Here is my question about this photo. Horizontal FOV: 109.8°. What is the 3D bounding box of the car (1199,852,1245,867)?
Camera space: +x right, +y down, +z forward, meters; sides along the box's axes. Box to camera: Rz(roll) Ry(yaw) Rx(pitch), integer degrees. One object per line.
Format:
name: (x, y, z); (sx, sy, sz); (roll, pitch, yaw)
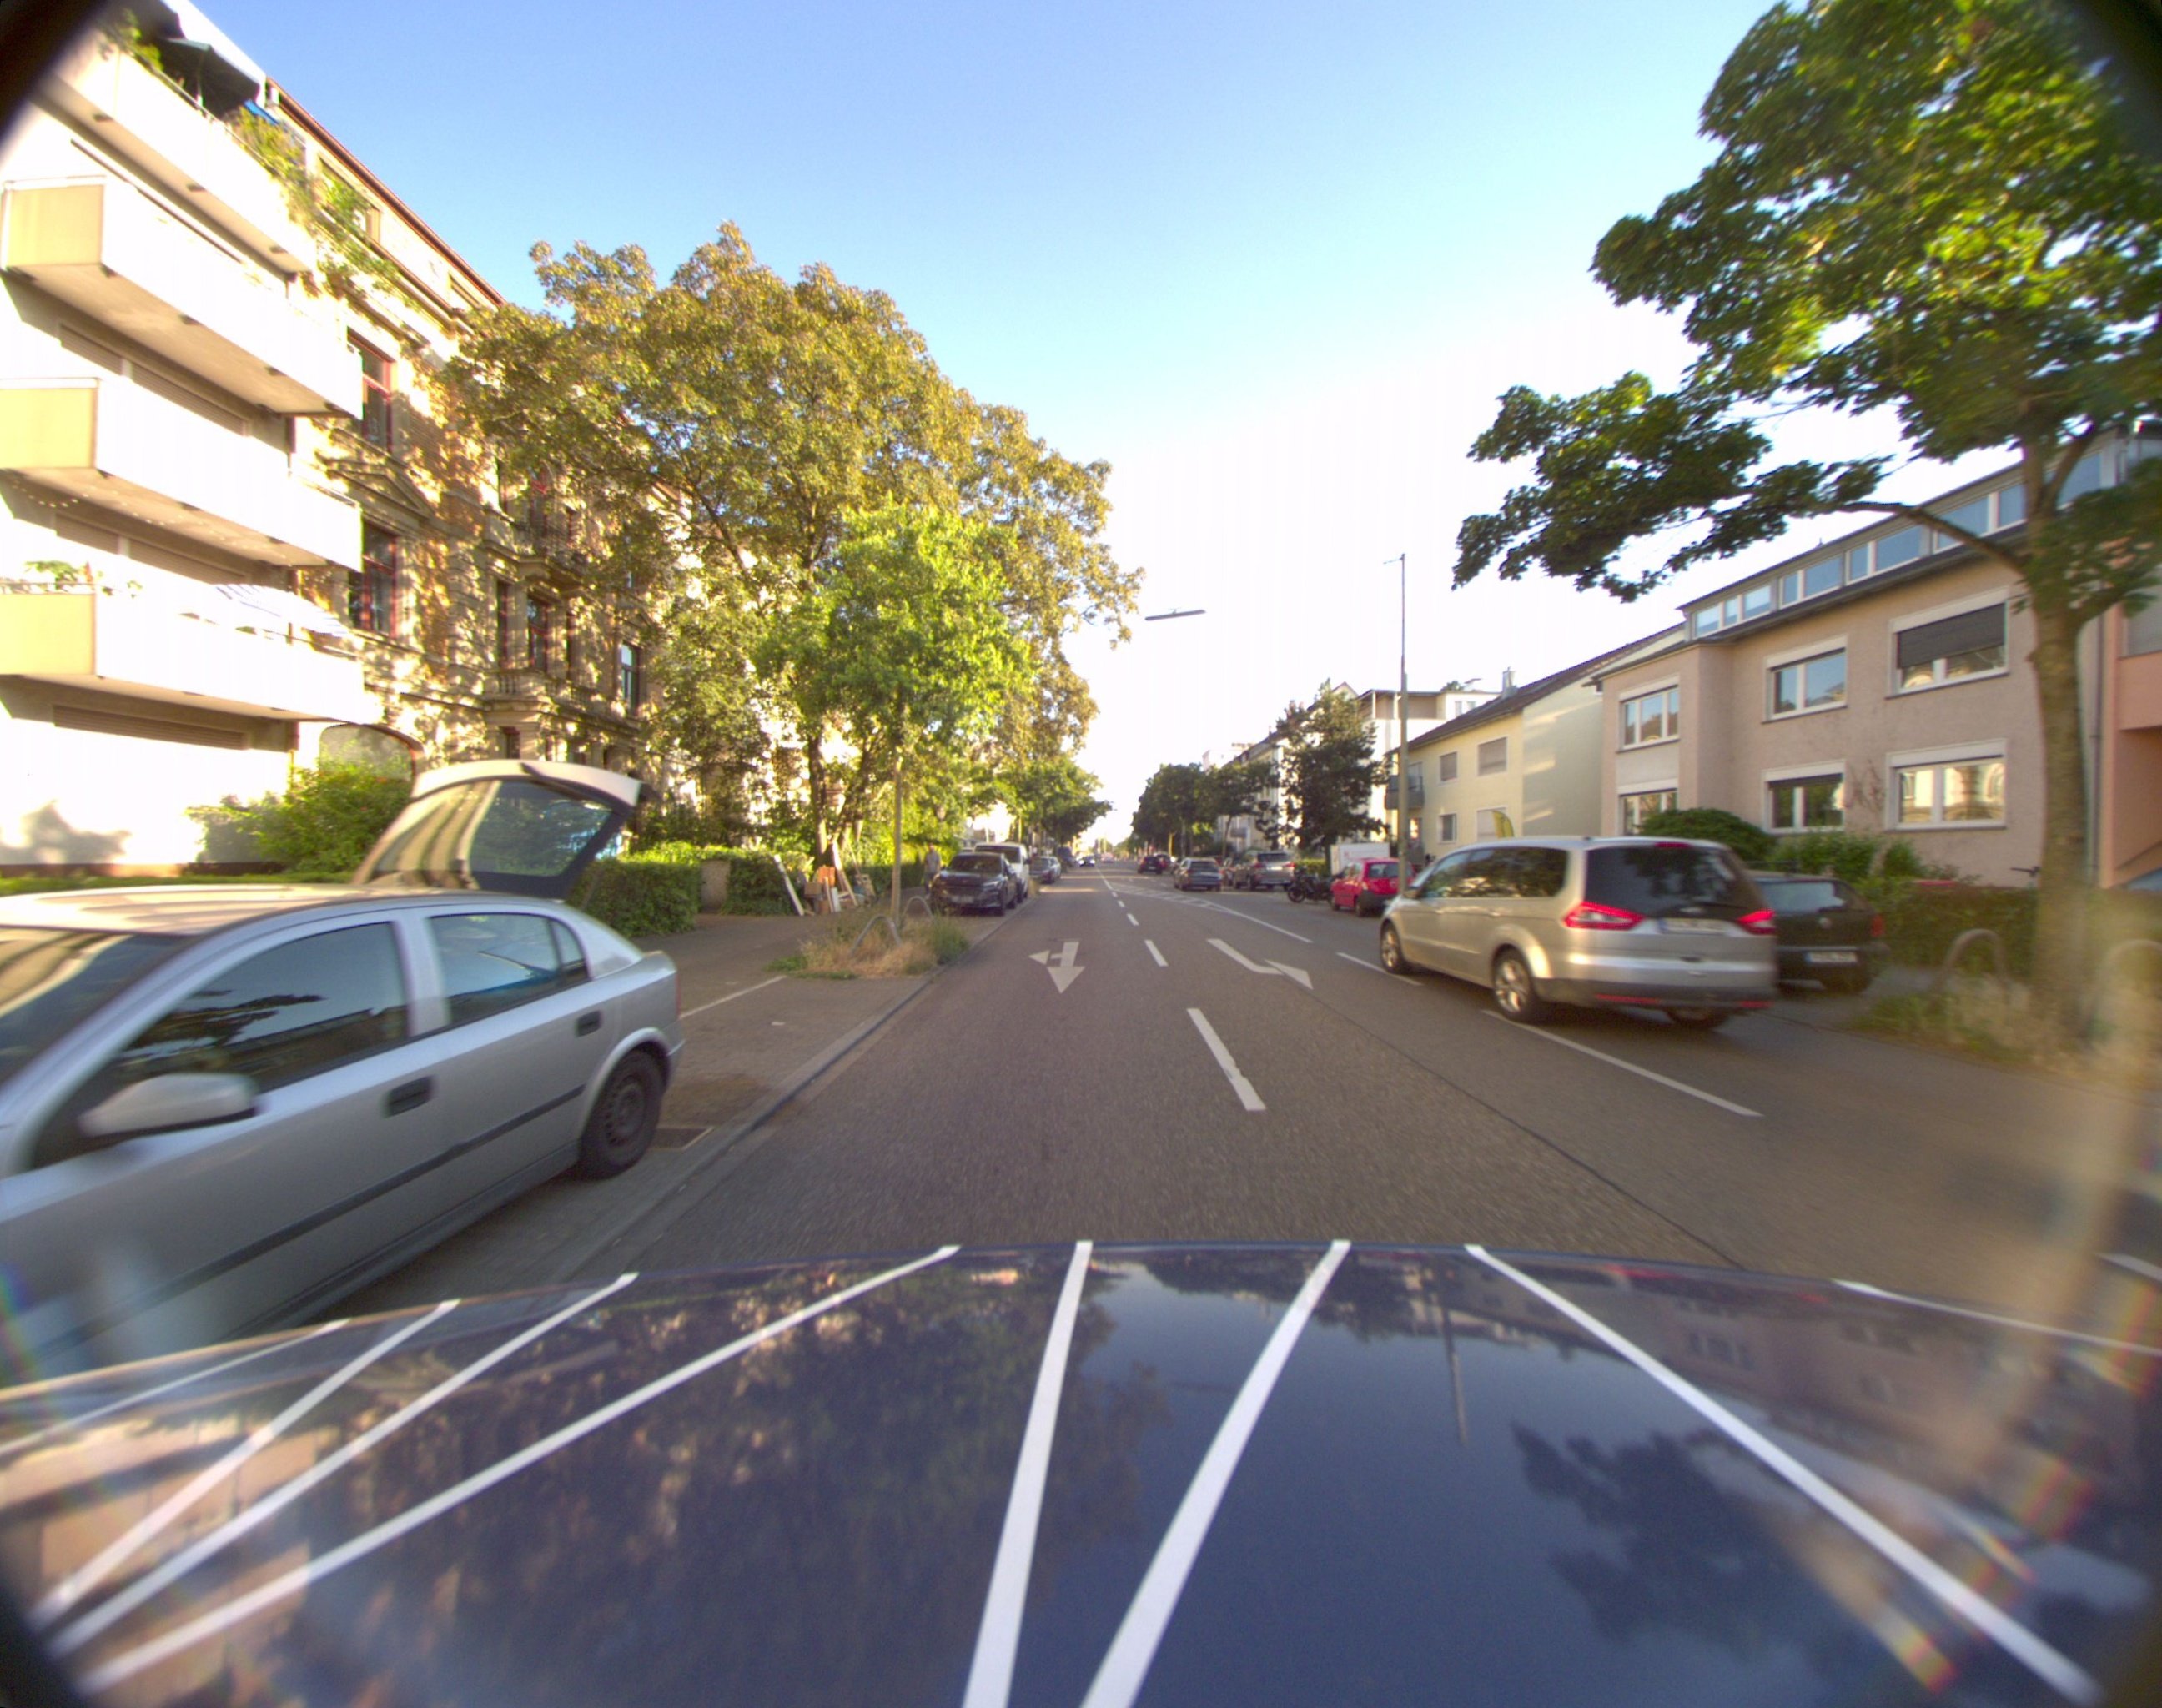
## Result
car: (15.165, 0.576, 81.935); (4.564, 1.397, 1.739); (-2, 1, -9)

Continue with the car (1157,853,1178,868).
car: (8.729, 0.621, 76.514); (1.740, 1.455, 3.636); (0, 0, 1)

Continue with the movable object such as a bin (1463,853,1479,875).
movable object such as a bin: (18.320, 0.462, 35.734); (0.504, 1.013, 0.450); (1, 1, 0)

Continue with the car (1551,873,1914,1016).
car: (7.969, 0.998, 9.810); (1.547, 1.388, 3.666); (0, 0, 0)

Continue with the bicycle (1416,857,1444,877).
bicycle: (18.685, 0.672, 40.730); (0.520, 1.057, 2.046); (0, 0, 0)

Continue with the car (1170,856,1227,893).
car: (5.164, 0.873, 33.988); (1.765, 1.443, 4.533); (2, 0, 0)

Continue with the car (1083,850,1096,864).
car: (1.128, 0.353, 97.712); (1.596, 1.696, 4.000); (0, 0, 0)

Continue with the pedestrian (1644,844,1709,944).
pedestrian: (10.826, 0.709, 13.827); (0.715, 1.782, 0.572); (0, 1, 3)

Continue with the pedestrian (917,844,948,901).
pedestrian: (-4.673, 0.576, 23.941); (0.823, 1.763, 1.089); (0, 1, -3)

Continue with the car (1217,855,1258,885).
car: (8.320, 0.829, 40.477); (1.577, 1.546, 2.749); (0, 0, -1)

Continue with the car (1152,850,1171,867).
car: (8.819, 0.485, 83.662); (1.740, 1.799, 4.191); (0, 0, 1)

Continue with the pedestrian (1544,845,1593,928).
pedestrian: (10.543, 0.690, 16.433); (0.715, 1.782, 0.506); (0, 1, 3)

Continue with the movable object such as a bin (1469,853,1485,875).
movable object such as a bin: (18.344, 0.463, 35.185); (0.504, 1.013, 0.450); (1, 1, 0)

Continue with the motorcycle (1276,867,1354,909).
motorcycle: (7.610, 1.080, 24.830); (1.184, 1.258, 2.365); (0, 0, -23)

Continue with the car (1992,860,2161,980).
car: (13.570, 0.798, 8.757); (1.668, 1.401, 3.753); (1, 0, 2)

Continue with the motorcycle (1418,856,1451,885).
motorcycle: (17.225, 0.794, 37.095); (0.572, 1.366, 2.258); (0, 0, 0)

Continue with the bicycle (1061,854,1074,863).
bicycle: (-1.650, 0.503, 92.781); (1.469, 1.058, 0.445); (1, 1, 0)

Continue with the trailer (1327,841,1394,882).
trailer: (14.270, 0.377, 38.876); (2.780, 2.002, 1.552); (0, 1, -2)

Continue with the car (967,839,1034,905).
car: (-2.676, 0.556, 26.372); (1.908, 2.091, 4.640); (0, 0, -1)

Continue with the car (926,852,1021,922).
car: (-2.749, 0.786, 20.463); (1.860, 1.594, 4.311); (3, 0, 0)

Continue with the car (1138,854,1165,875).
car: (5.825, 0.848, 63.066); (1.840, 1.561, 3.999); (2, 1, 0)

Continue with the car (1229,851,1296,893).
car: (8.213, 0.769, 34.881); (1.892, 1.769, 4.725); (0, 0, -1)

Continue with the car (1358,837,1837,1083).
car: (4.727, 0.783, 8.064); (1.810, 1.794, 4.745); (2, 0, 0)

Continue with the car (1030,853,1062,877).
car: (-2.241, 0.689, 49.900); (1.825, 1.469, 4.621); (0, 0, 1)

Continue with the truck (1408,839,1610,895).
truck: (17.256, 0.514, 30.915); (6.912, 2.172, 2.276); (0, 1, 0)

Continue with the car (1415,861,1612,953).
car: (8.191, 0.917, 14.845); (1.597, 1.514, 3.890); (0, 0, -1)

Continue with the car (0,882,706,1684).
car: (-3.051, 0.939, 2.244); (1.712, 1.472, 4.268); (2, 0, 0)

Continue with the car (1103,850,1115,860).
car: (5.287, 0.106, 144.073); (1.893, 1.793, 4.430); (2, 0, -1)

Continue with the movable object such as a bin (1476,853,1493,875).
movable object such as a bin: (18.358, 0.462, 34.602); (0.504, 1.013, 0.450); (1, 1, 0)

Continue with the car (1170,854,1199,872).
car: (8.637, 0.719, 63.972); (1.862, 1.477, 3.999); (1, 0, 0)

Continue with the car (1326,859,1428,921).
car: (7.930, 0.902, 20.642); (1.596, 1.514, 3.437); (0, 0, 3)

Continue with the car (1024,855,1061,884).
car: (-2.054, 0.793, 41.591); (1.761, 1.412, 4.614); (2, 0, 0)
